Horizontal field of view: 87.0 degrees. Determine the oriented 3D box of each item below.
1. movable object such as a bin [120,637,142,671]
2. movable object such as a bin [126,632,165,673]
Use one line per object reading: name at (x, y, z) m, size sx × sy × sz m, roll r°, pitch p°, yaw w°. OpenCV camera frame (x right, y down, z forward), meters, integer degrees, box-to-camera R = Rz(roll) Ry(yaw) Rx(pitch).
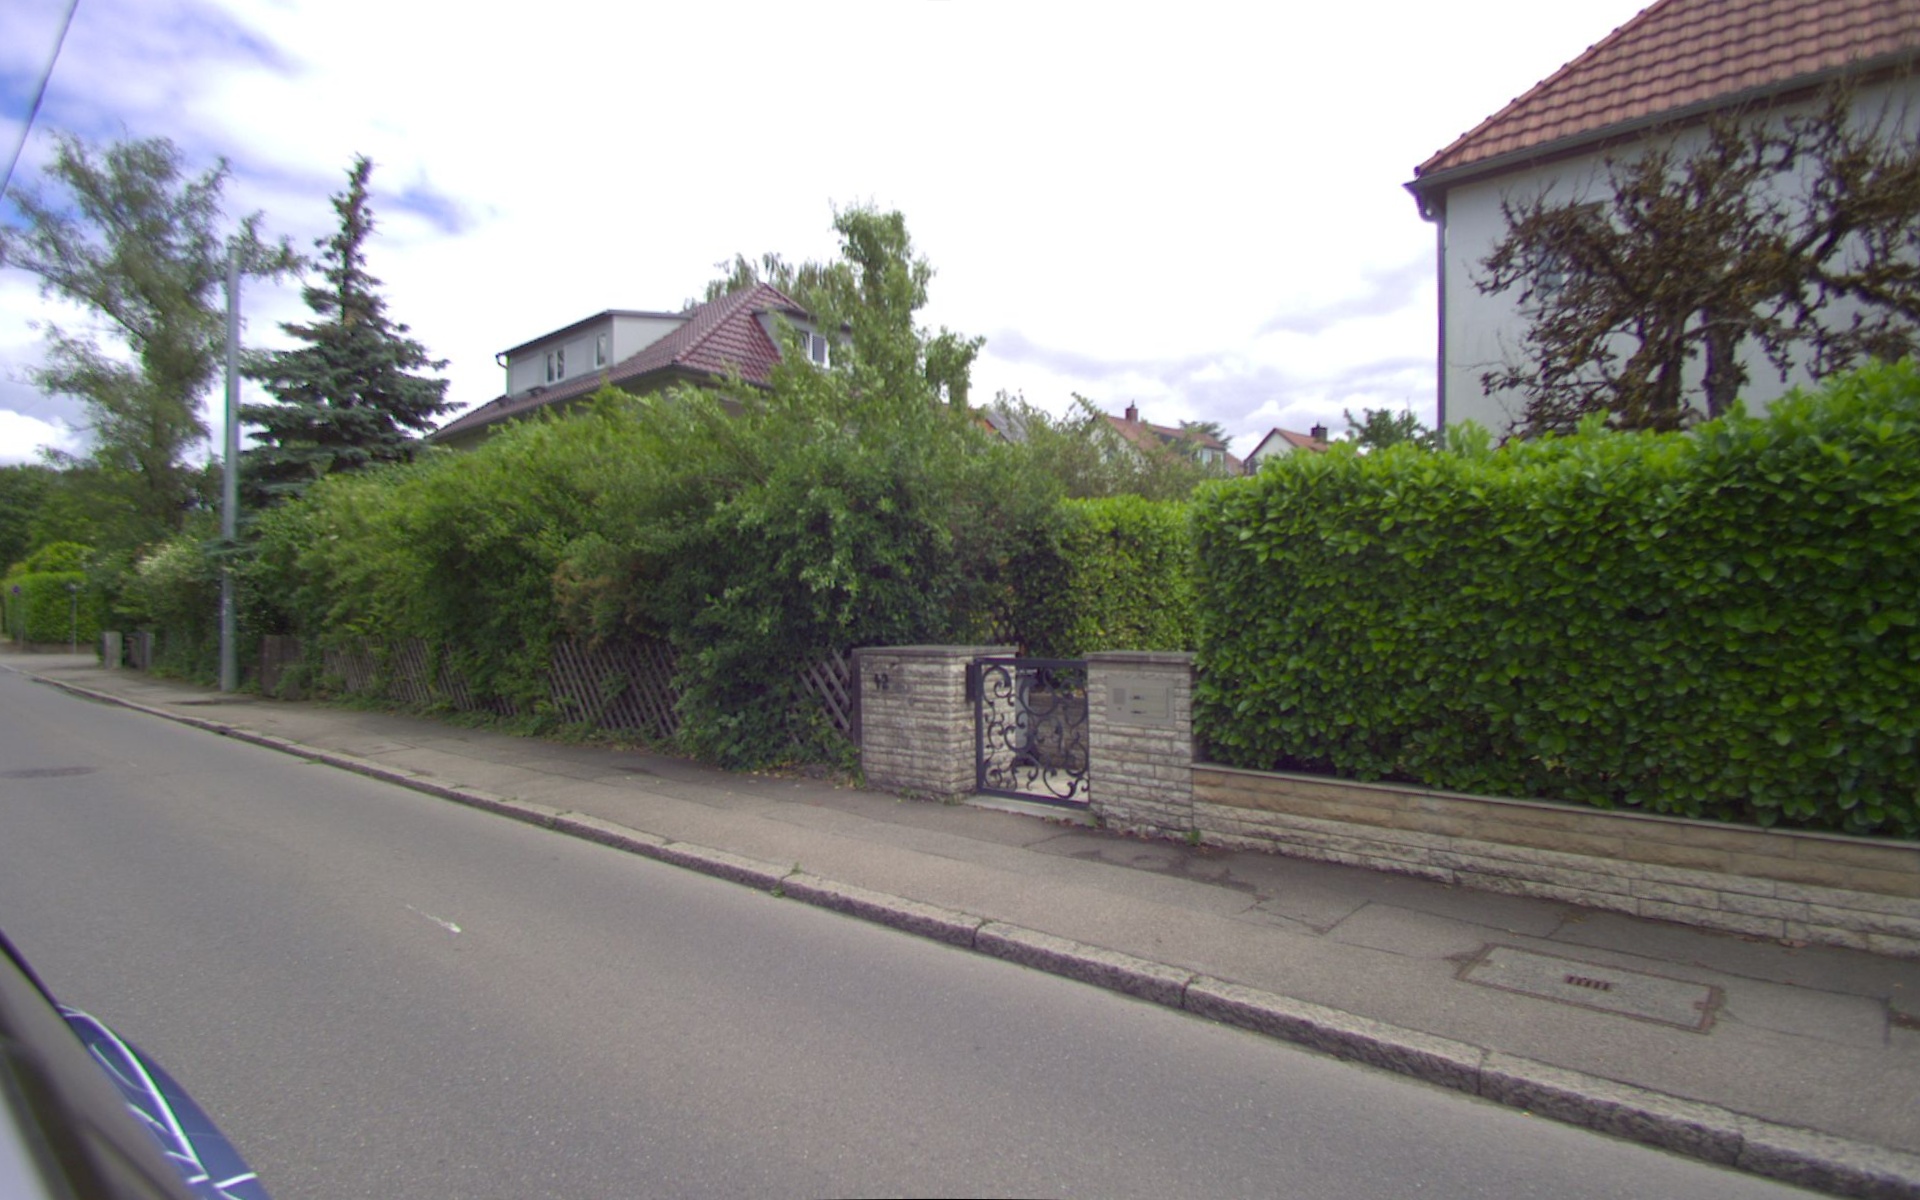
movable object such as a bin at (-24.490, 1.601, 29.909) m, size 0.511 × 0.958 × 0.375 m, roll -1°, pitch 1°, yaw 39°
movable object such as a bin at (-23.869, 1.526, 29.660) m, size 0.722 × 1.134 × 0.721 m, roll -1°, pitch 1°, yaw 39°
